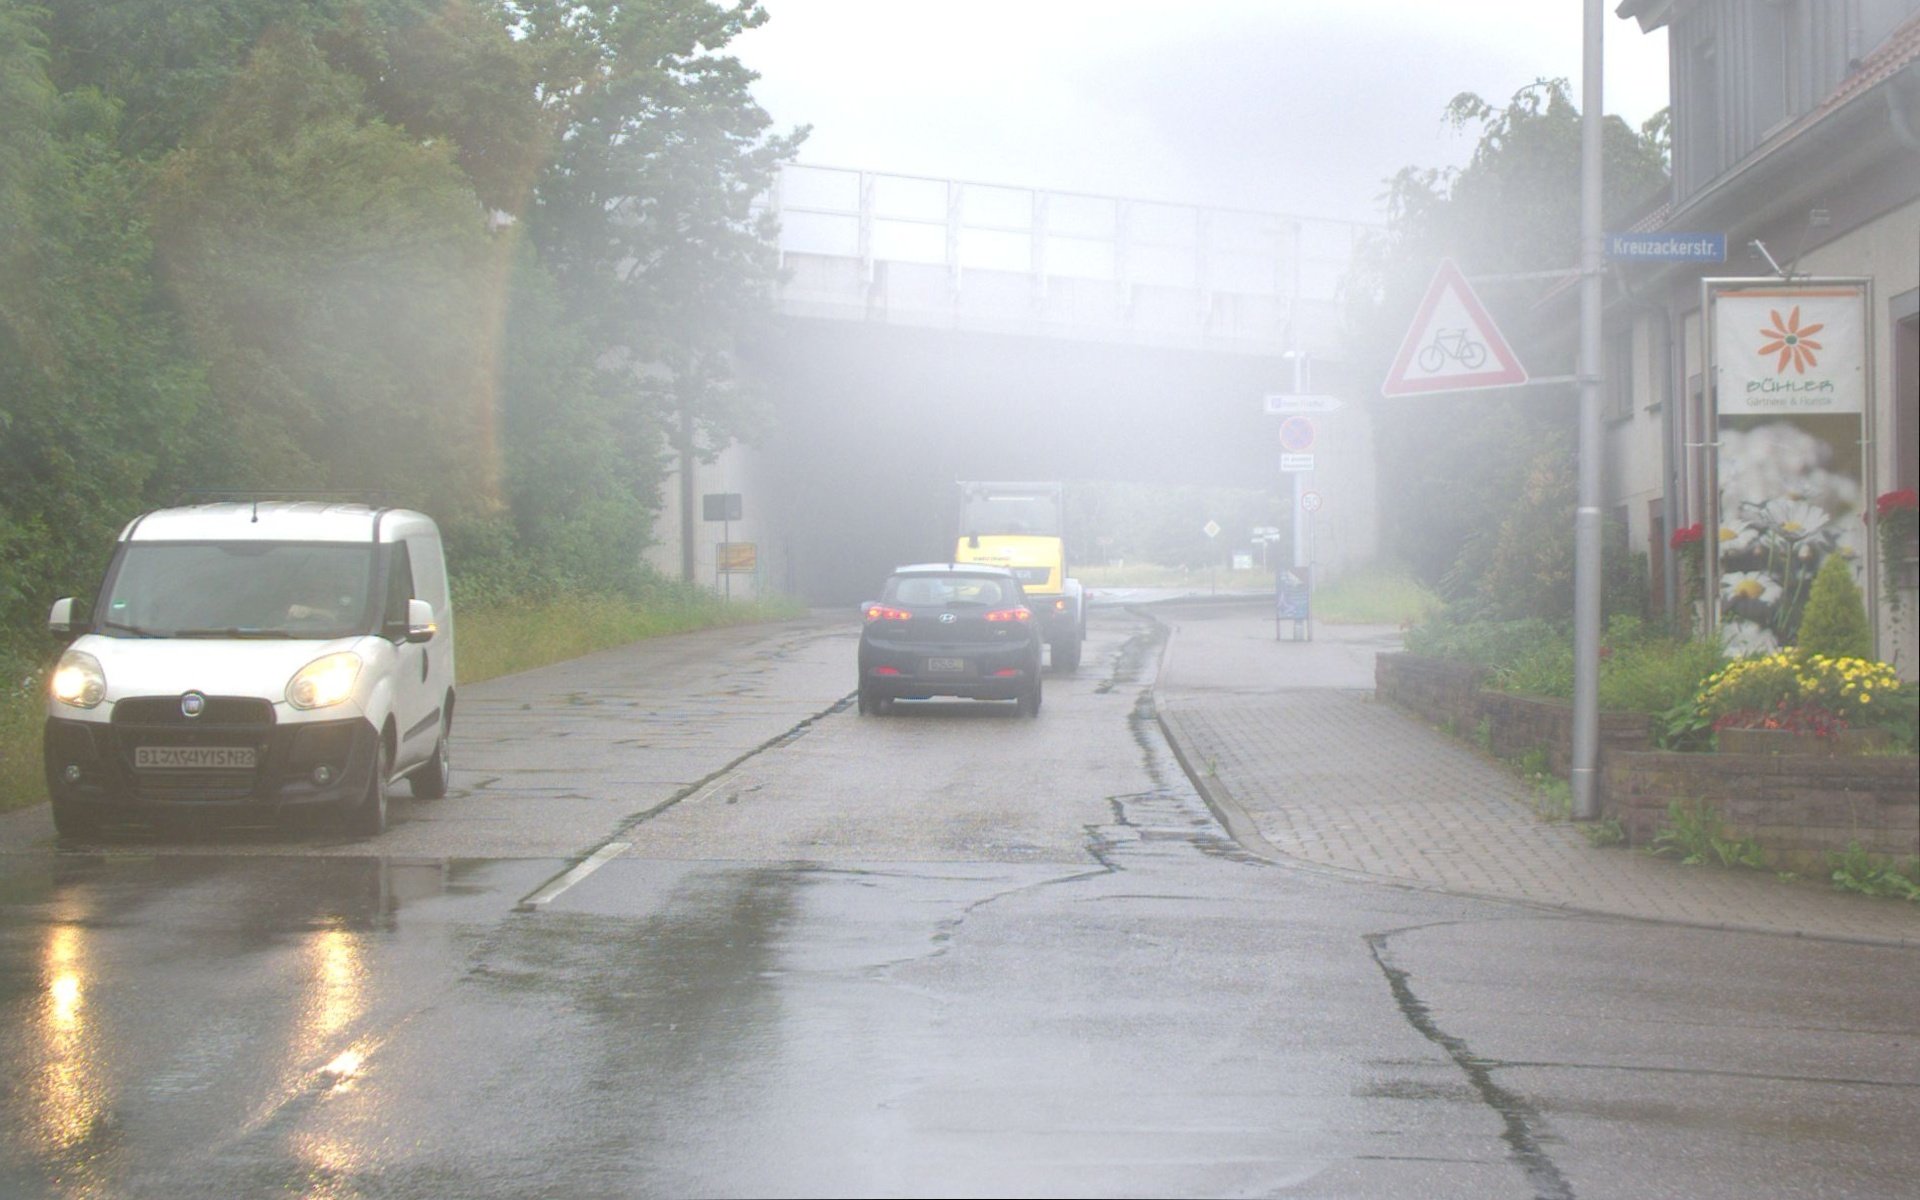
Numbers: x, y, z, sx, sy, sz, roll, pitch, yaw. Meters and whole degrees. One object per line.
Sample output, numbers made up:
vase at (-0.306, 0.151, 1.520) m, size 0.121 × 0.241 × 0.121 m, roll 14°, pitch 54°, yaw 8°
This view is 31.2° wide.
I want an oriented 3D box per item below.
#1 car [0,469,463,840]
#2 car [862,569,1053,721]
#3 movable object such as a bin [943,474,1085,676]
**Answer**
car at (-3.946, 0.253, 19.291) m, size 1.823 × 1.825 × 4.308 m, roll 1°, pitch 1°, yaw -2°
car at (0.030, 0.401, 33.857) m, size 1.708 × 1.373 × 4.000 m, roll 1°, pitch 0°, yaw 2°
movable object such as a bin at (0.750, -0.336, 45.841) m, size 1.761 × 2.539 × 4.239 m, roll 1°, pitch 0°, yaw 2°
